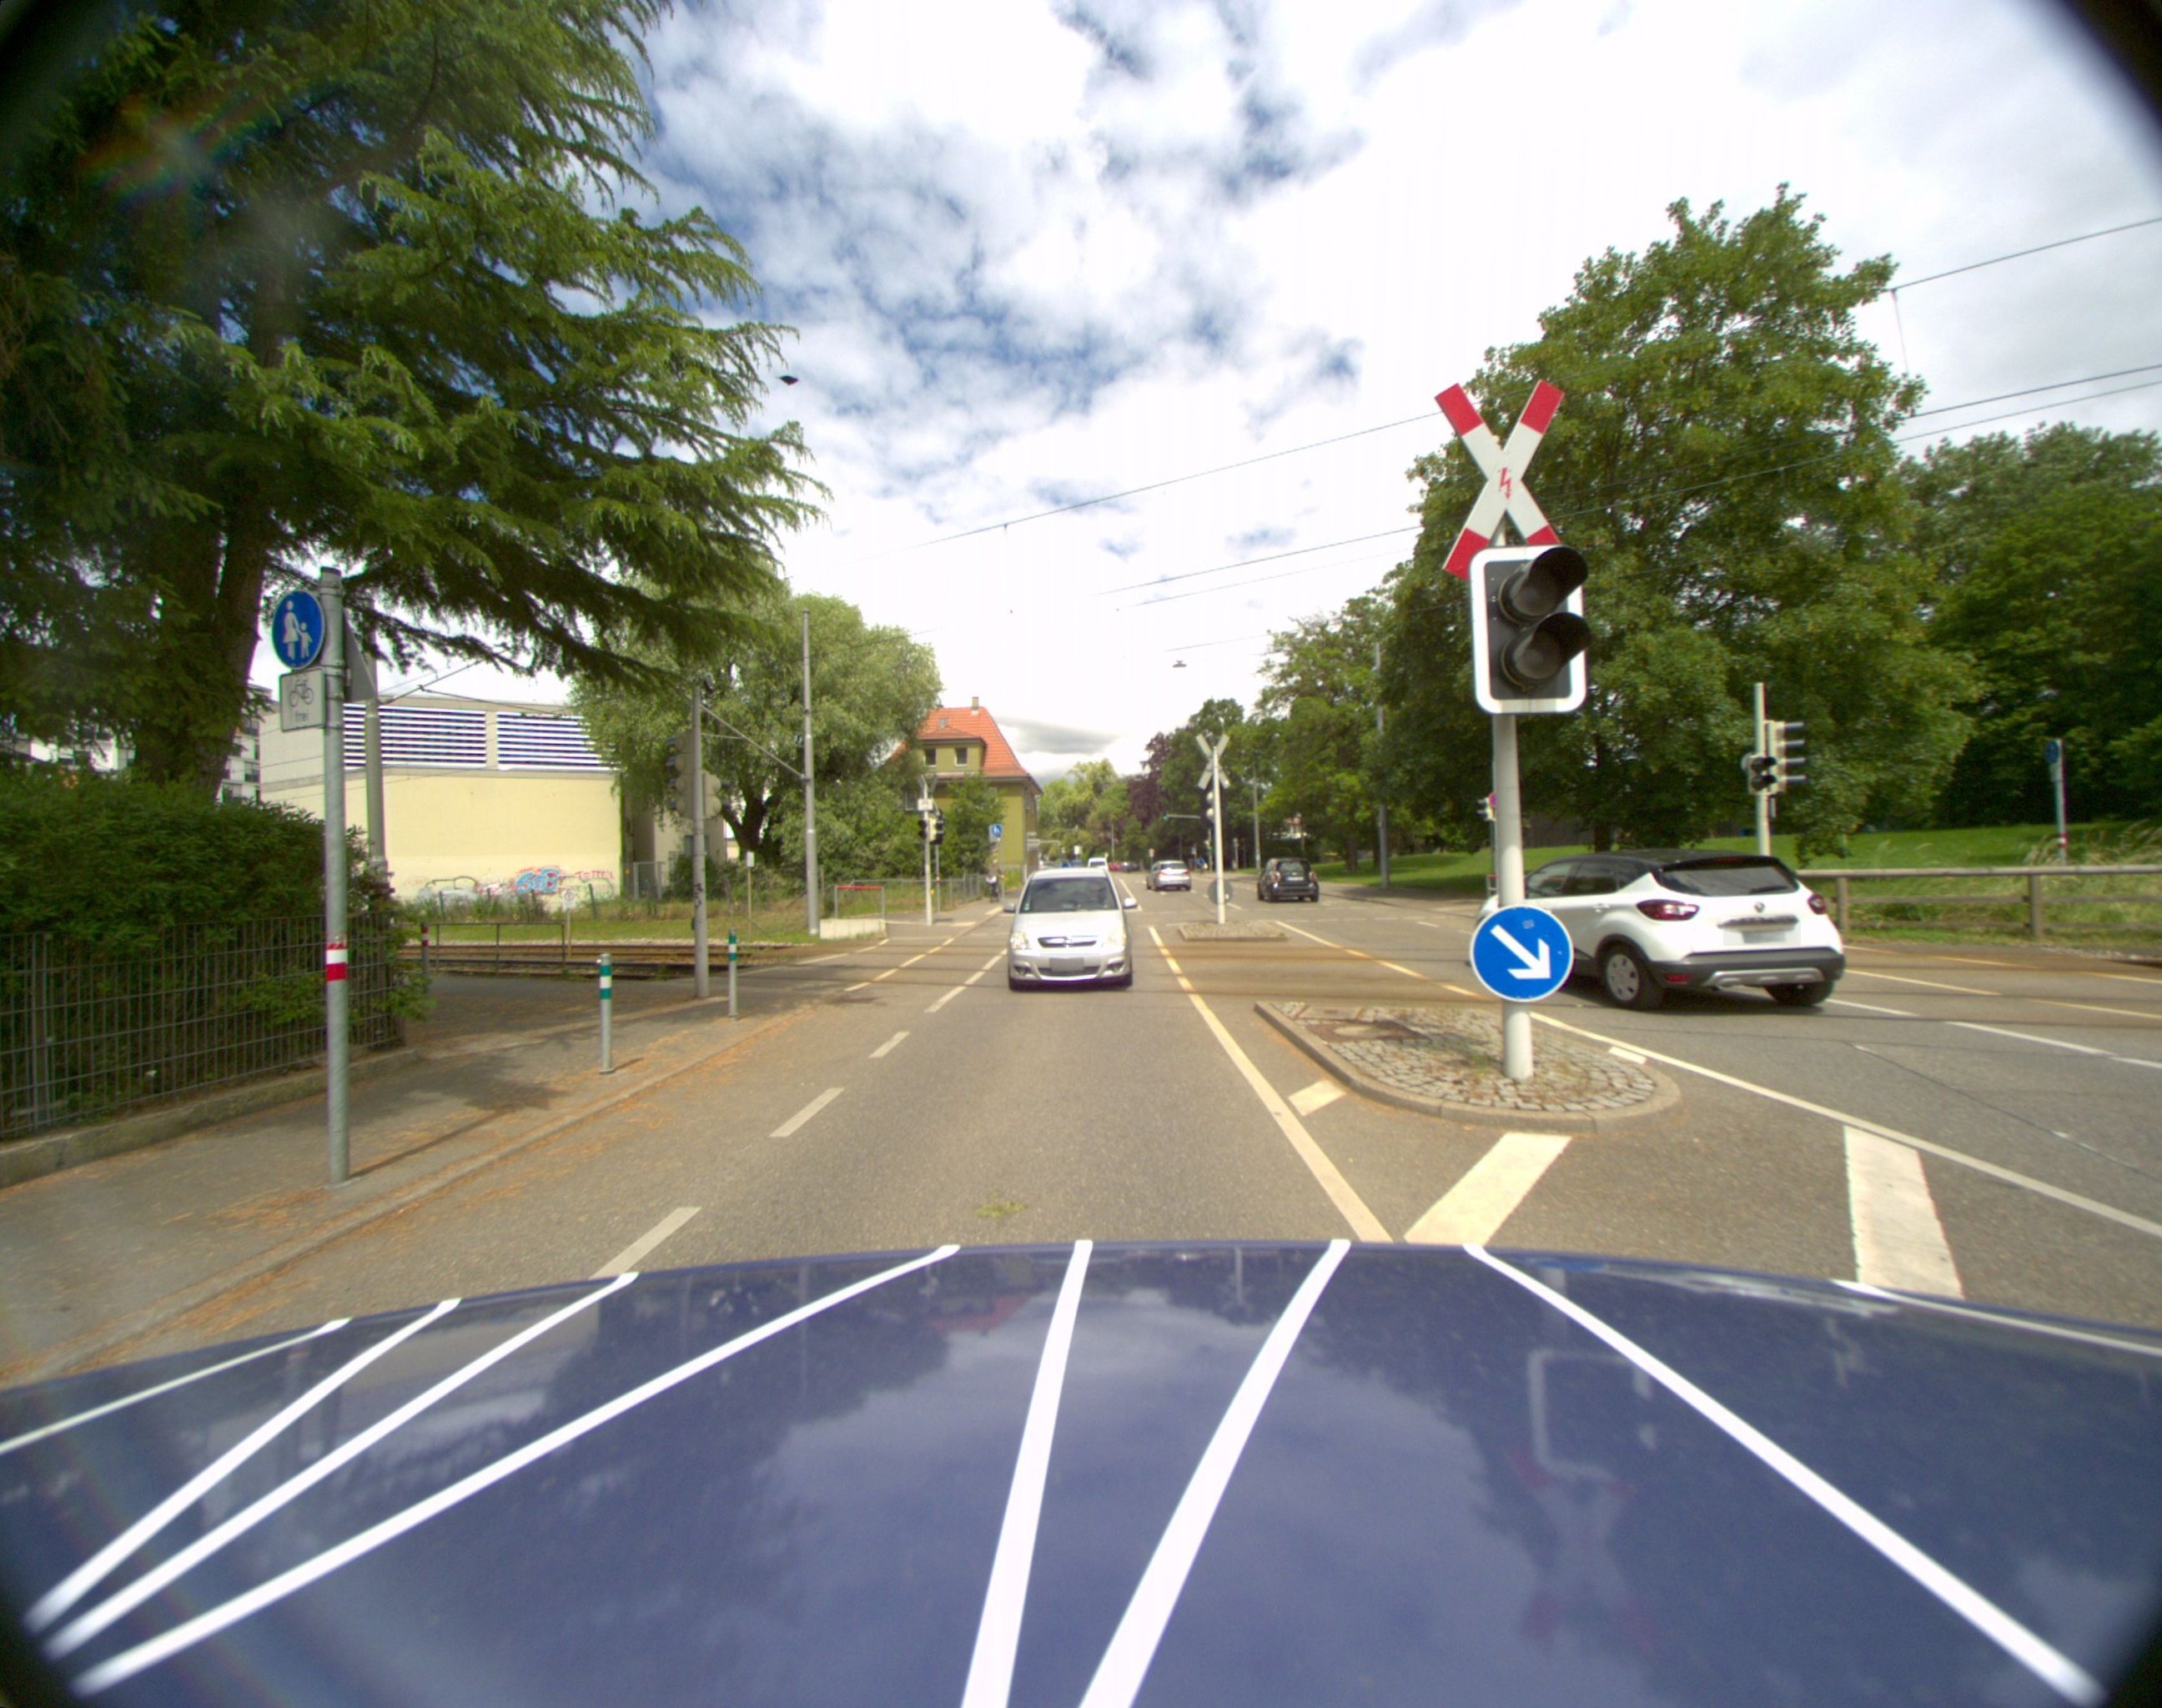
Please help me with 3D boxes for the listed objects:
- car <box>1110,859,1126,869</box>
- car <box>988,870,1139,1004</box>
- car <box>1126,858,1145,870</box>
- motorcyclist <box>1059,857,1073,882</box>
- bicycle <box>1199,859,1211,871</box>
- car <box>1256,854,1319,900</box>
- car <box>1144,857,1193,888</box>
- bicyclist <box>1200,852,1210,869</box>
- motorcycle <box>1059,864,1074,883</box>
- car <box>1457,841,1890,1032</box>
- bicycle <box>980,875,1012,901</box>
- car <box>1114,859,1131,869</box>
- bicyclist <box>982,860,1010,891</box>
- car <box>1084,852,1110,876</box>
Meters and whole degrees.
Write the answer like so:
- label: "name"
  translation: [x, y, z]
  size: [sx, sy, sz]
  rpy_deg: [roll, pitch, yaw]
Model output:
- label: "car"
  translation: [5.782, 1.496, 118.391]
  size: [1.899, 1.501, 3.998]
  rpy_deg: [-1, 0, -6]
- label: "car"
  translation: [-0.125, 1.065, 11.395]
  size: [1.780, 1.519, 4.001]
  rpy_deg: [-3, -1, 3]
- label: "car"
  translation: [7.493, 1.368, 104.127]
  size: [1.899, 1.501, 3.998]
  rpy_deg: [-1, 0, -6]
- label: "motorcyclist"
  translation: [-0.911, 0.952, 47.195]
  size: [0.837, 1.547, 0.650]
  rpy_deg: [0, 1, 1]
- label: "bicycle"
  translation: [12.006, 1.061, 73.429]
  size: [0.813, 1.101, 1.800]
  rpy_deg: [-4, 0, 1]
- label: "car"
  translation: [7.188, 0.772, 26.641]
  size: [1.578, 1.501, 2.788]
  rpy_deg: [-1, 0, 3]
- label: "car"
  translation: [4.327, 0.911, 38.033]
  size: [1.693, 1.449, 4.068]
  rpy_deg: [-1, -1, -4]
- label: "bicyclist"
  translation: [11.960, 0.599, 73.355]
  size: [0.807, 1.599, 0.772]
  rpy_deg: [-4, 0, 1]
- label: "motorcycle"
  translation: [-0.898, 1.207, 47.200]
  size: [0.837, 1.101, 1.800]
  rpy_deg: [0, 0, 1]
- label: "car"
  translation: [6.089, 0.721, 8.555]
  size: [1.779, 1.594, 4.039]
  rpy_deg: [-2, 0, 2]
- label: "bicycle"
  translation: [-3.457, 1.378, 31.110]
  size: [0.934, 1.034, 1.916]
  rpy_deg: [0, -1, 5]
- label: "car"
  translation: [6.178, 1.522, 113.571]
  size: [1.899, 1.501, 3.998]
  rpy_deg: [-1, 0, -6]
- label: "bicyclist"
  translation: [-3.458, 0.872, 31.104]
  size: [0.934, 1.240, 1.103]
  rpy_deg: [0, 0, 5]
- label: "car"
  translation: [1.320, 0.819, 64.690]
  size: [1.999, 1.983, 4.370]
  rpy_deg: [-1, 0, -1]
